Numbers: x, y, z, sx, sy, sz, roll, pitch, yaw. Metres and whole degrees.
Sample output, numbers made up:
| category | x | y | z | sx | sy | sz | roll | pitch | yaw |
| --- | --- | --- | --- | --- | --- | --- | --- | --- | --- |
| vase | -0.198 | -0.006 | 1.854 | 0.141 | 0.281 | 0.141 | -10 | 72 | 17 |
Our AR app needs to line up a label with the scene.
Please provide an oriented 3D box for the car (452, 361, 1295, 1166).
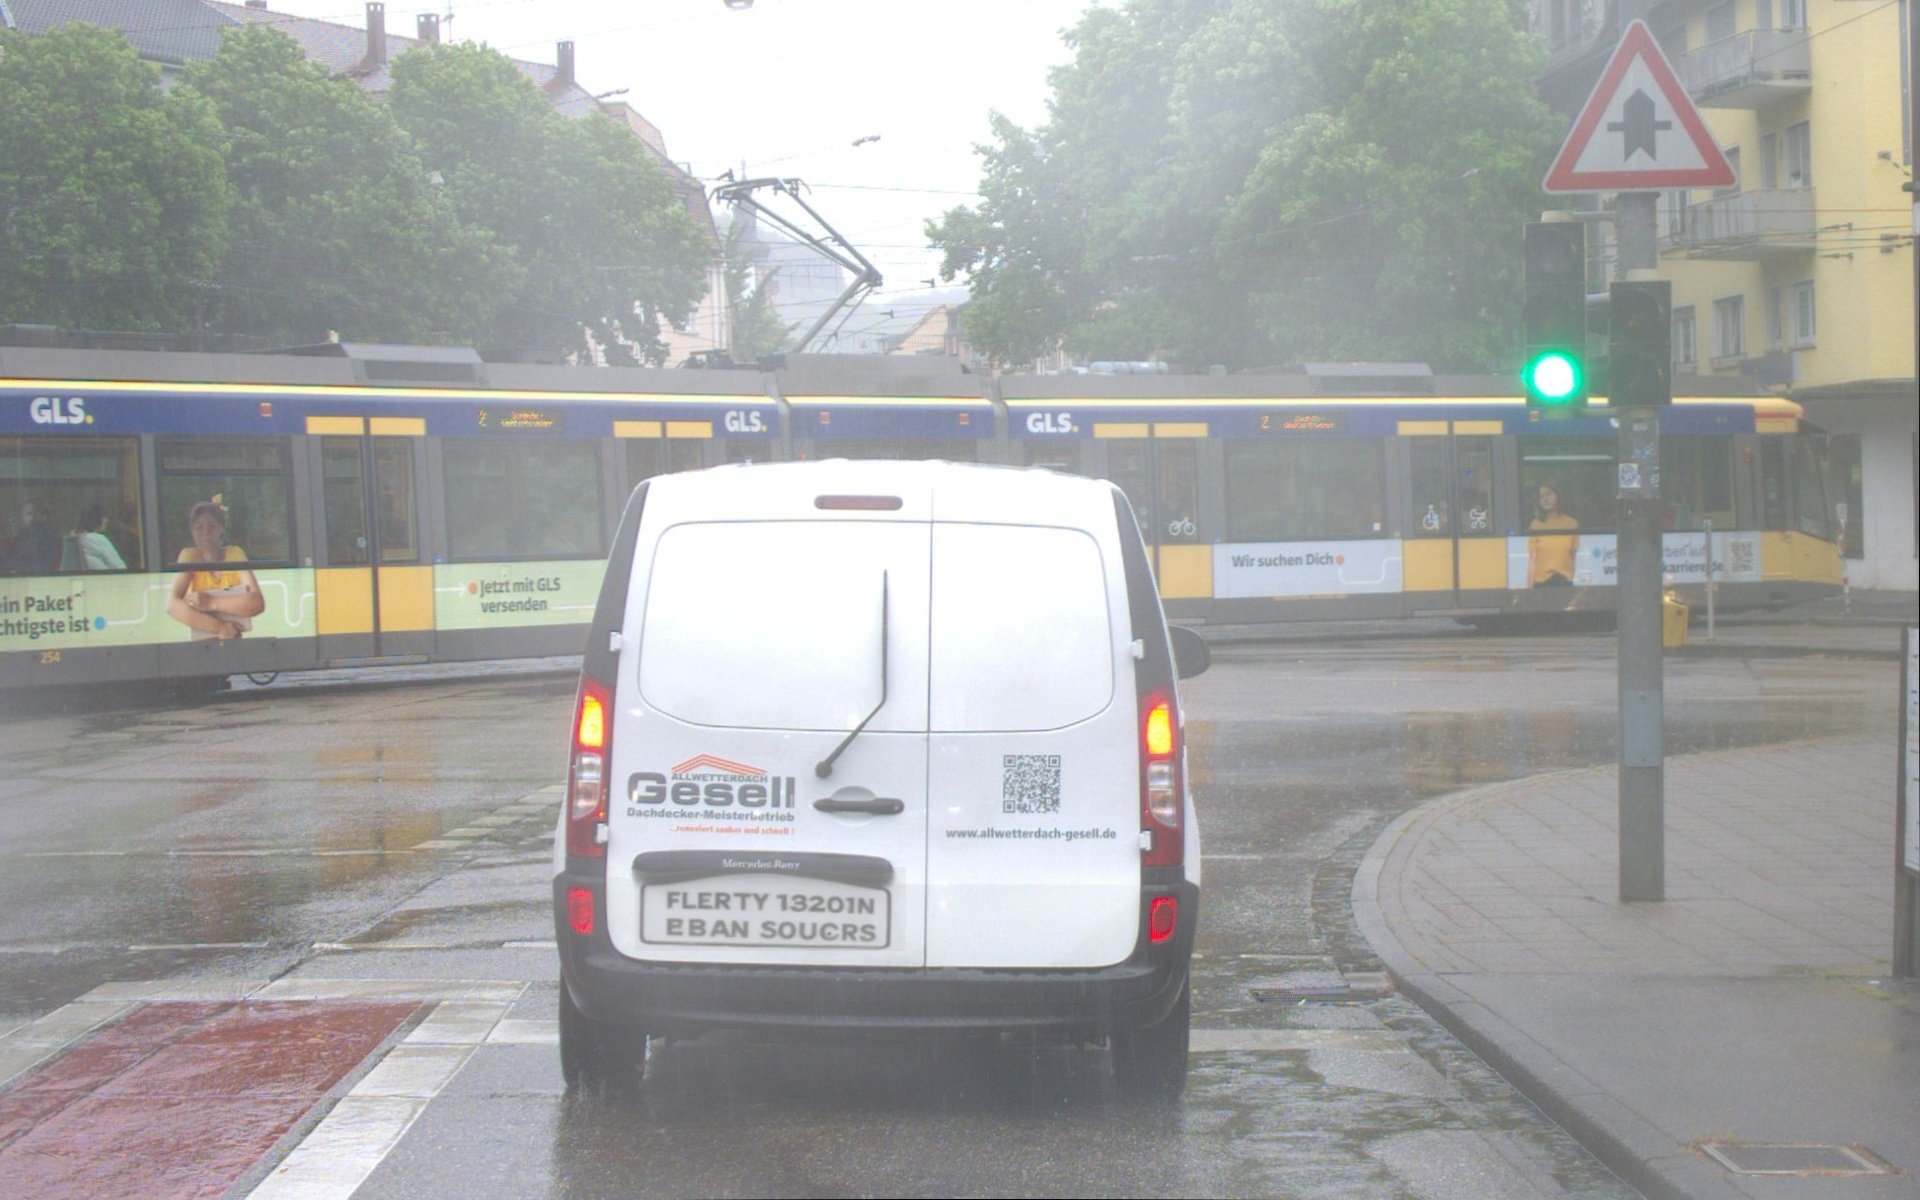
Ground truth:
| category | x | y | z | sx | sy | sz | roll | pitch | yaw |
| --- | --- | --- | --- | --- | --- | --- | --- | --- | --- |
| car | -0.243 | 0.384 | 11.104 | 2.100 | 2.005 | 4.963 | 0 | 1 | -1 |

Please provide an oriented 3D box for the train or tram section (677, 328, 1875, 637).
| category | x | y | z | sx | sy | sz | roll | pitch | yaw |
| --- | --- | --- | --- | --- | --- | --- | --- | --- | --- |
| train or tram section | 4.311 | -1.326 | 43.688 | 15.450 | 3.401 | 3.553 | 1 | 1 | -25 |

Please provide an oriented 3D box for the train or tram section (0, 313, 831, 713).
| category | x | y | z | sx | sy | sz | roll | pitch | yaw |
| --- | --- | --- | --- | --- | --- | --- | --- | --- | --- |
| train or tram section | -7.118 | -0.806 | 34.501 | 3.521 | 3.500 | 13.628 | 2 | 1 | 39 |
